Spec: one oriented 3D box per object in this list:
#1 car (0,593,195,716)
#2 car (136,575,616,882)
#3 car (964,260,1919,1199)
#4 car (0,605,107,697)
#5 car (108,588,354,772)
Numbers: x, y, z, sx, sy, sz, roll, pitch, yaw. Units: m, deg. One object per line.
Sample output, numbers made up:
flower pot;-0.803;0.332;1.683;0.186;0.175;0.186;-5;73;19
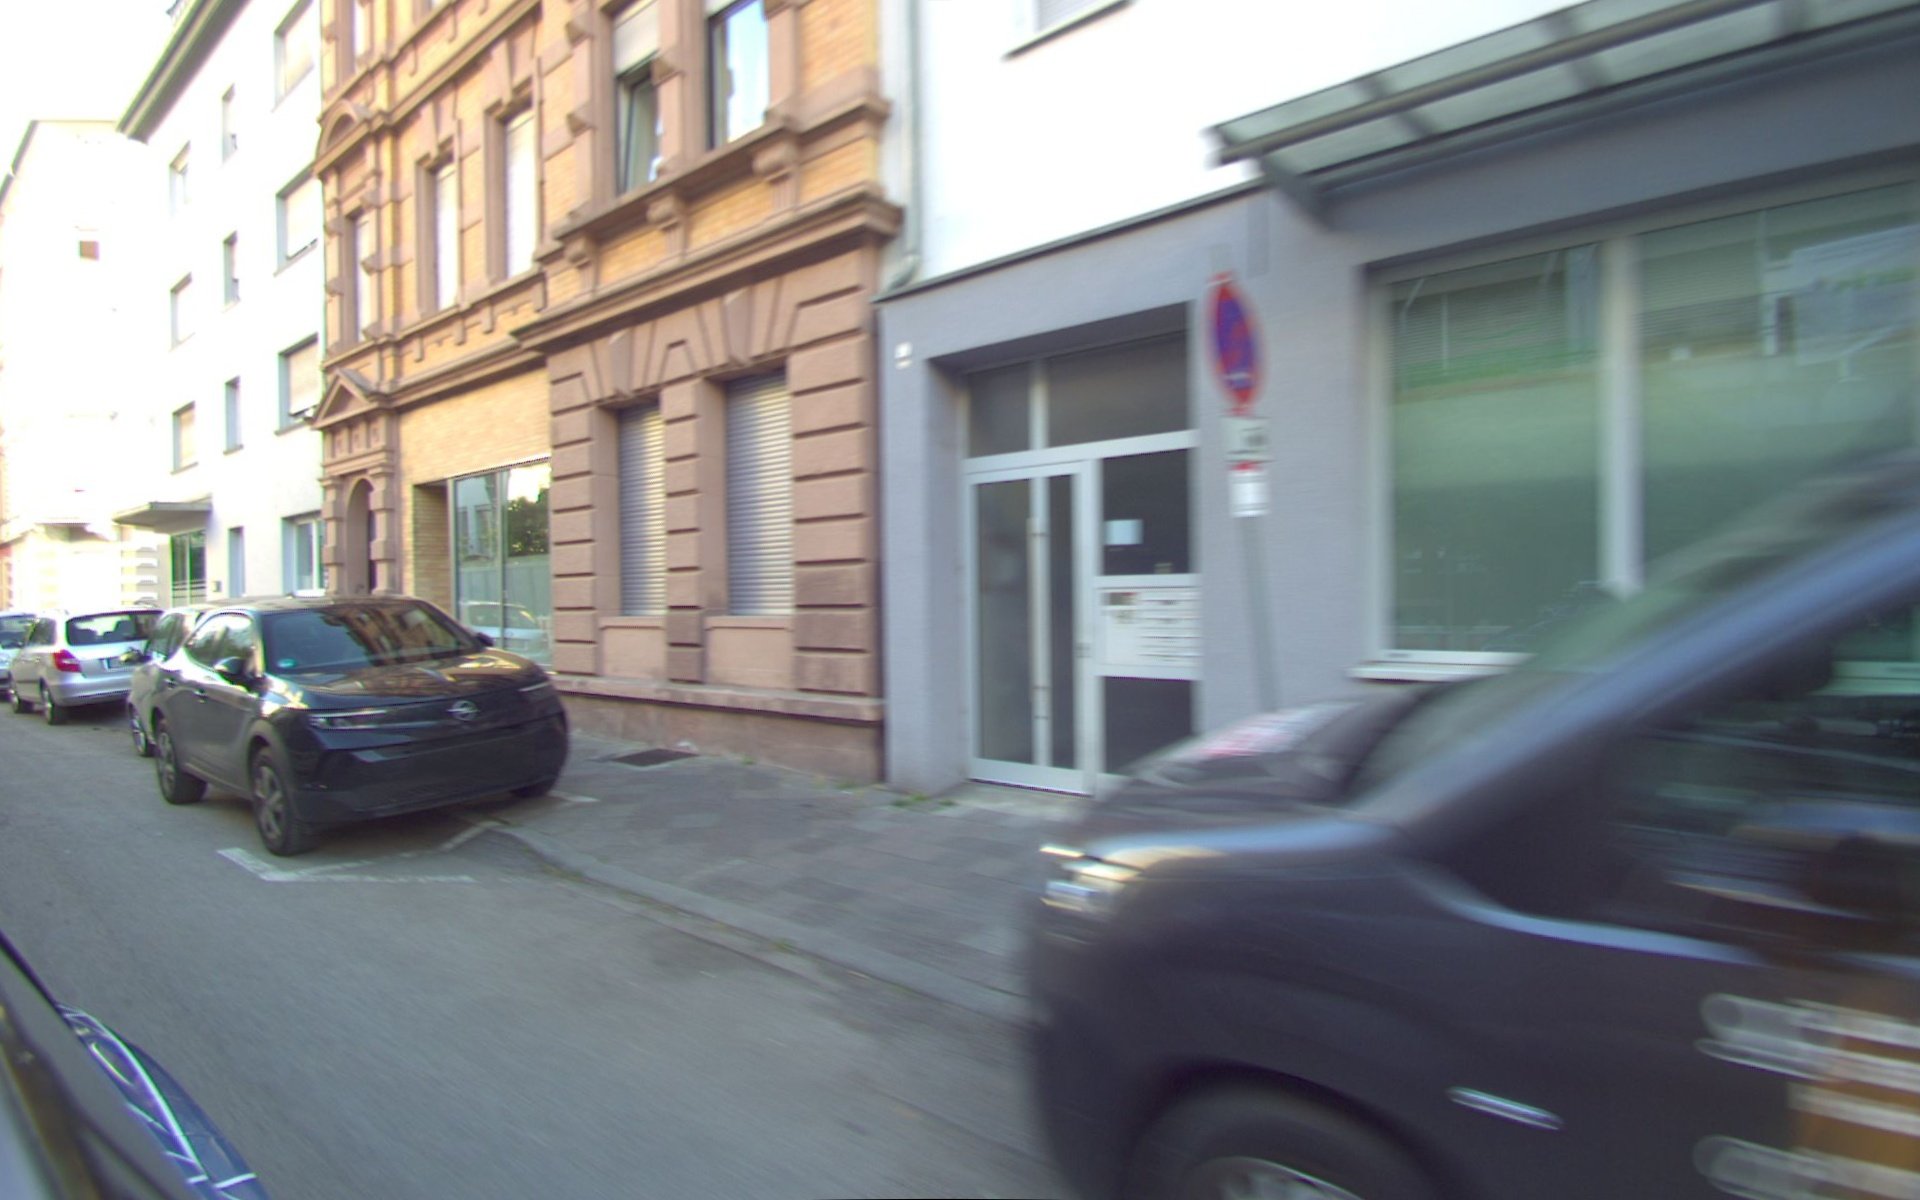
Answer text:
car;-12.197;0.691;14.230;3.594;1.520;1.539;-1;-1;40
car;-4.351;0.683;7.281;4.011;1.611;1.723;-1;0;40
car;2.408;0.508;1.422;4.580;1.872;1.974;-1;0;40
car;-16.367;0.842;17.676;3.551;1.441;1.616;-1;0;39
car;-7.468;0.715;10.303;2.792;1.600;1.382;-1;0;40
